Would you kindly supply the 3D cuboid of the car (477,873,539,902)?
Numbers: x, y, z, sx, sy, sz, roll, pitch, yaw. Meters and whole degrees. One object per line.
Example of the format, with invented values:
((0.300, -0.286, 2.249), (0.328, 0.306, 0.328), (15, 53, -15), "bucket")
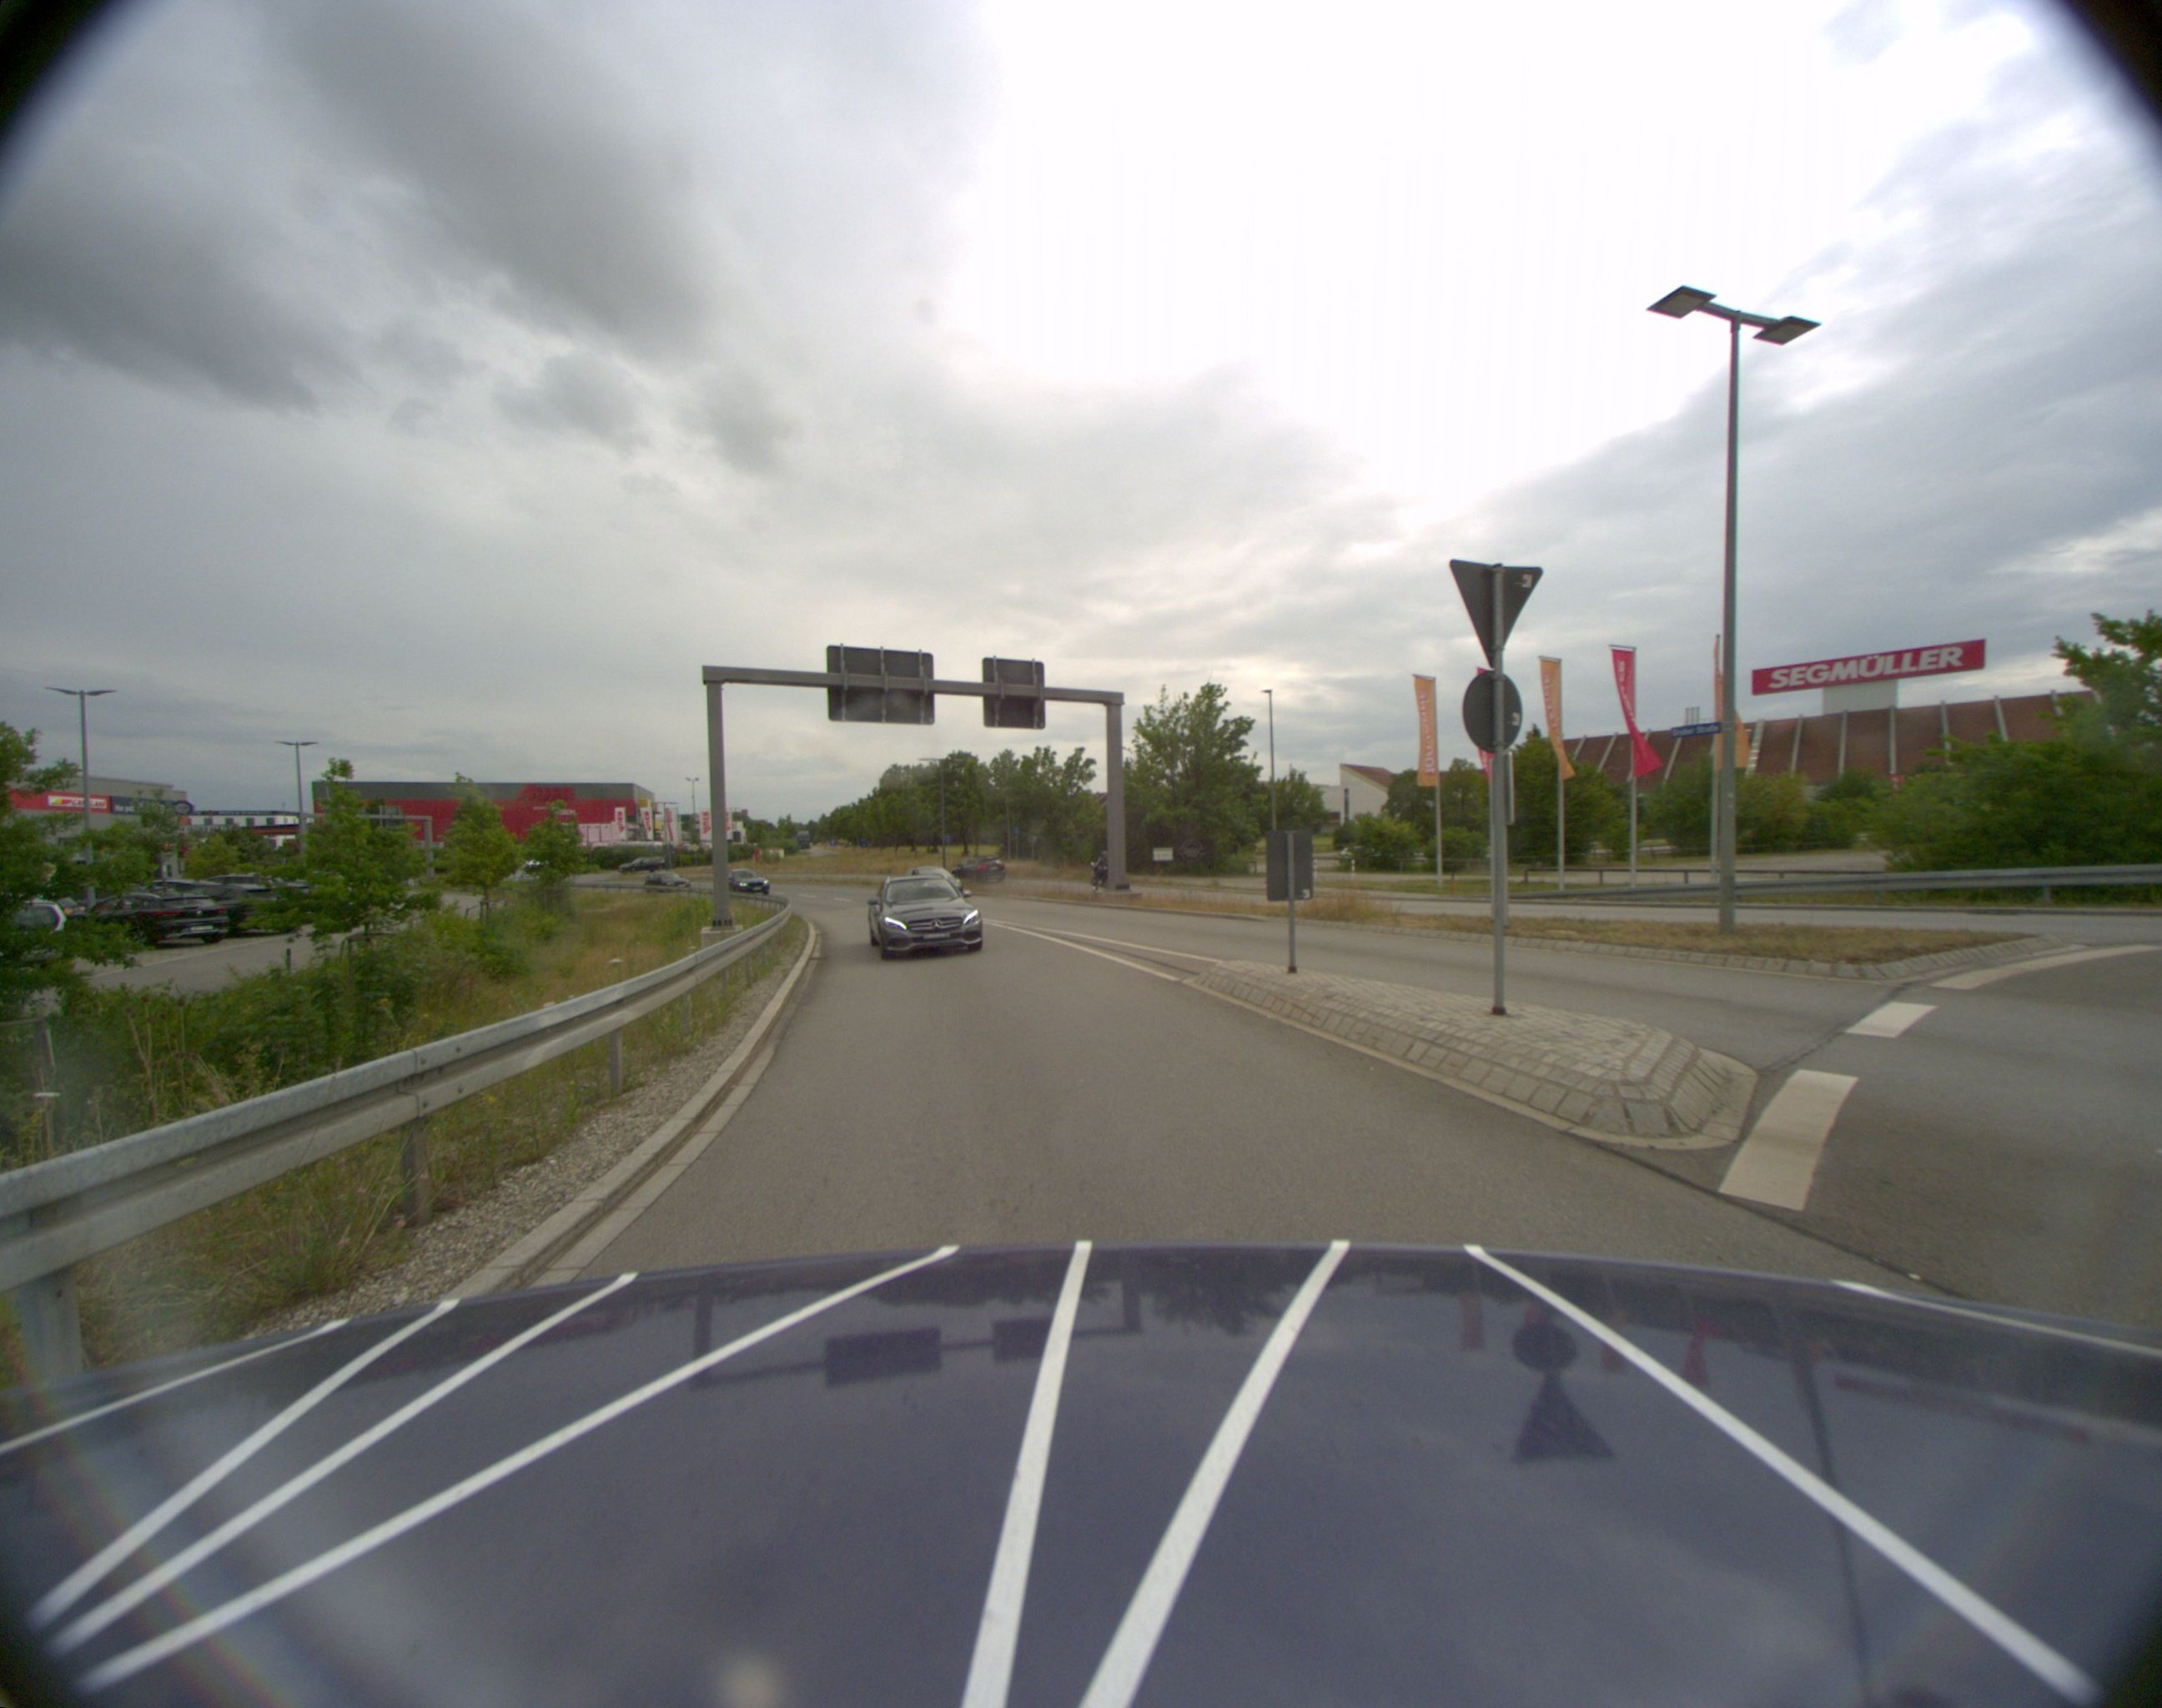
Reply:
((-35.795, 2.094, 47.449), (3.690, 1.536, 1.593), (-2, 3, 28), "car")

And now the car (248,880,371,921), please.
((-32.554, 1.928, 32.094), (4.070, 1.613, 1.738), (0, 0, 13), "car")

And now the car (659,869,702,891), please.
((-29.388, 1.873, 55.703), (1.864, 1.404, 3.928), (-5, 3, -41), "car")

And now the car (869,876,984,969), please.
((-3.158, 1.202, 14.927), (1.766, 1.411, 4.086), (-4, 0, -16), "car")

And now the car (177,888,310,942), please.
((-28.932, 2.094, 26.244), (4.068, 1.612, 1.739), (-3, 0, 22), "car")

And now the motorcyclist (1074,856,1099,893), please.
((0.216, 0.884, 32.818), (0.675, 1.567, 0.845), (-3, 0, -31), "motorcyclist")

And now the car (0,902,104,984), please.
((-25.957, 2.106, 18.272), (4.068, 1.702, 1.908), (-2, 1, 22), "car")

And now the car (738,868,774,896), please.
((-20.338, 1.701, 47.470), (1.863, 1.404, 4.547), (-4, 3, -25), "car")

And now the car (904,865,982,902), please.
((-5.928, 1.203, 32.276), (1.768, 1.310, 3.949), (-5, 3, -33), "car")

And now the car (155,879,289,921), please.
((-40.077, 2.105, 35.578), (3.704, 1.536, 1.587), (-5, 3, -28), "car")

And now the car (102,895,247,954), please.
((-28.255, 2.197, 23.680), (4.068, 1.612, 1.653), (-3, 0, 22), "car")

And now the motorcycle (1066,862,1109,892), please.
((0.255, 0.994, 32.740), (0.704, 1.222, 2.244), (-3, 0, -31), "motorcycle")

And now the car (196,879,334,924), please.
((-31.759, 1.826, 29.616), (4.070, 1.613, 1.831), (0, 0, 13), "car")

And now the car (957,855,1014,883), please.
((-5.693, 0.875, 44.880), (1.895, 1.458, 4.272), (-3, 1, -27), "car")
